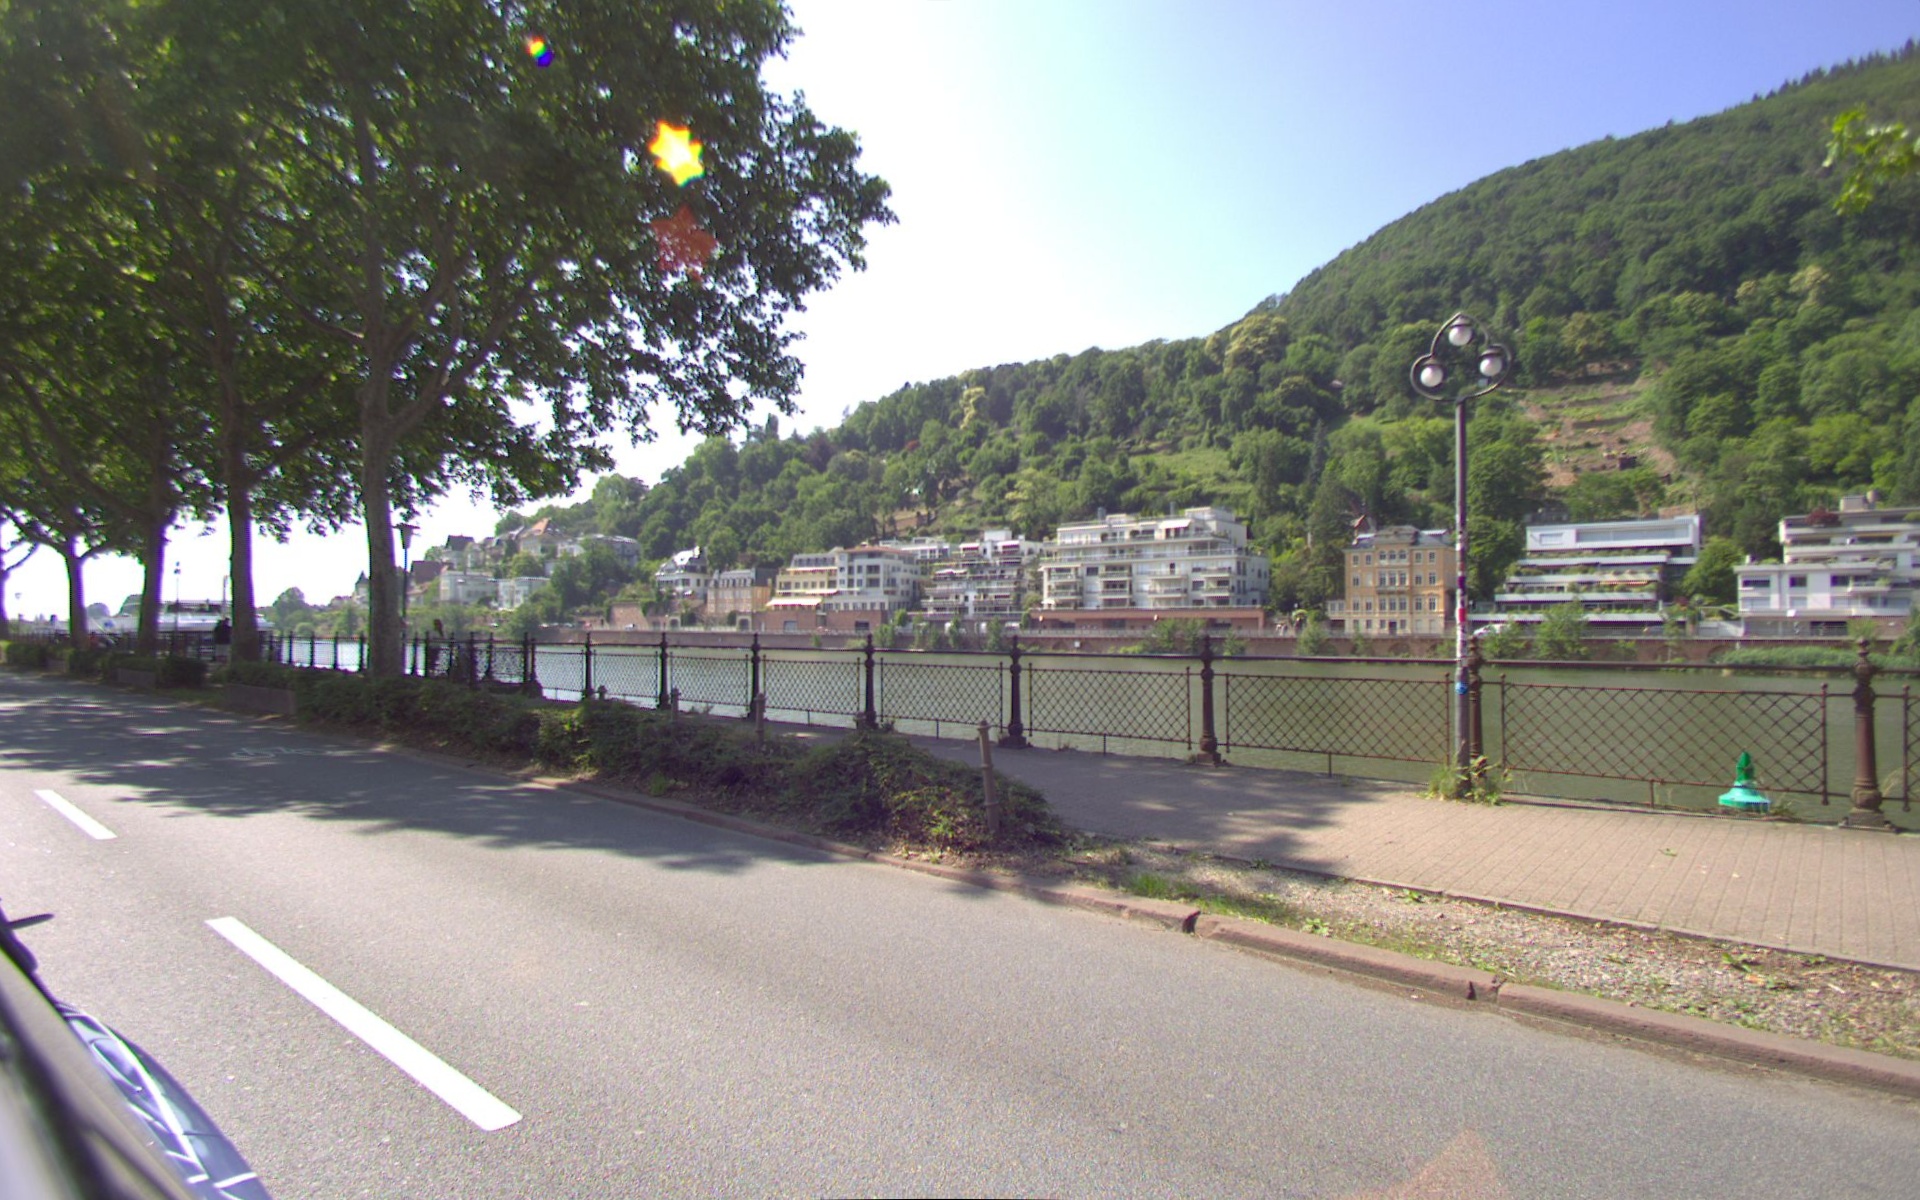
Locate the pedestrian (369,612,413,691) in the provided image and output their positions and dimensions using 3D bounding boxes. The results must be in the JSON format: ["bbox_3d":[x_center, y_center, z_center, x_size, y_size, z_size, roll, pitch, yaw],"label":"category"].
[{"bbox_3d":[-14.111,1.262,25.109,0.756,1.915,0.771,3,-4,-42],"label":"pedestrian"}]

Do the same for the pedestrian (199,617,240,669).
[{"bbox_3d":[-29.470,1.703,40.302,1.032,2.029,1.038,-1,0,-19],"label":"pedestrian"}]

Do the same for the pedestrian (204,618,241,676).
[{"bbox_3d":[-24.393,1.540,33.468,0.928,1.863,0.796,-1,0,41],"label":"pedestrian"}]

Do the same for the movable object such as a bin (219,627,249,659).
[{"bbox_3d":[-24.835,1.471,34.631,0.783,1.057,0.694,-1,0,44],"label":"movable object such as a bin"}]

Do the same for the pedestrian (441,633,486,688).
[{"bbox_3d":[-12.676,1.535,25.849,0.770,1.398,0.758,-2,-3,40],"label":"pedestrian"}]

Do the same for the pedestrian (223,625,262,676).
[{"bbox_3d":[-24.143,1.682,34.039,1.059,1.647,0.885,-1,0,43],"label":"pedestrian"}]

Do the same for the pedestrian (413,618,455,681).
[{"bbox_3d":[-15.038,1.416,28.938,0.829,1.771,0.767,-2,-4,40],"label":"pedestrian"}]

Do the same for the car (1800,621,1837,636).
[{"bbox_3d":[125.365,4.204,147.865,3.998,2.029,1.973,-4,-2,41],"label":"car"}]
